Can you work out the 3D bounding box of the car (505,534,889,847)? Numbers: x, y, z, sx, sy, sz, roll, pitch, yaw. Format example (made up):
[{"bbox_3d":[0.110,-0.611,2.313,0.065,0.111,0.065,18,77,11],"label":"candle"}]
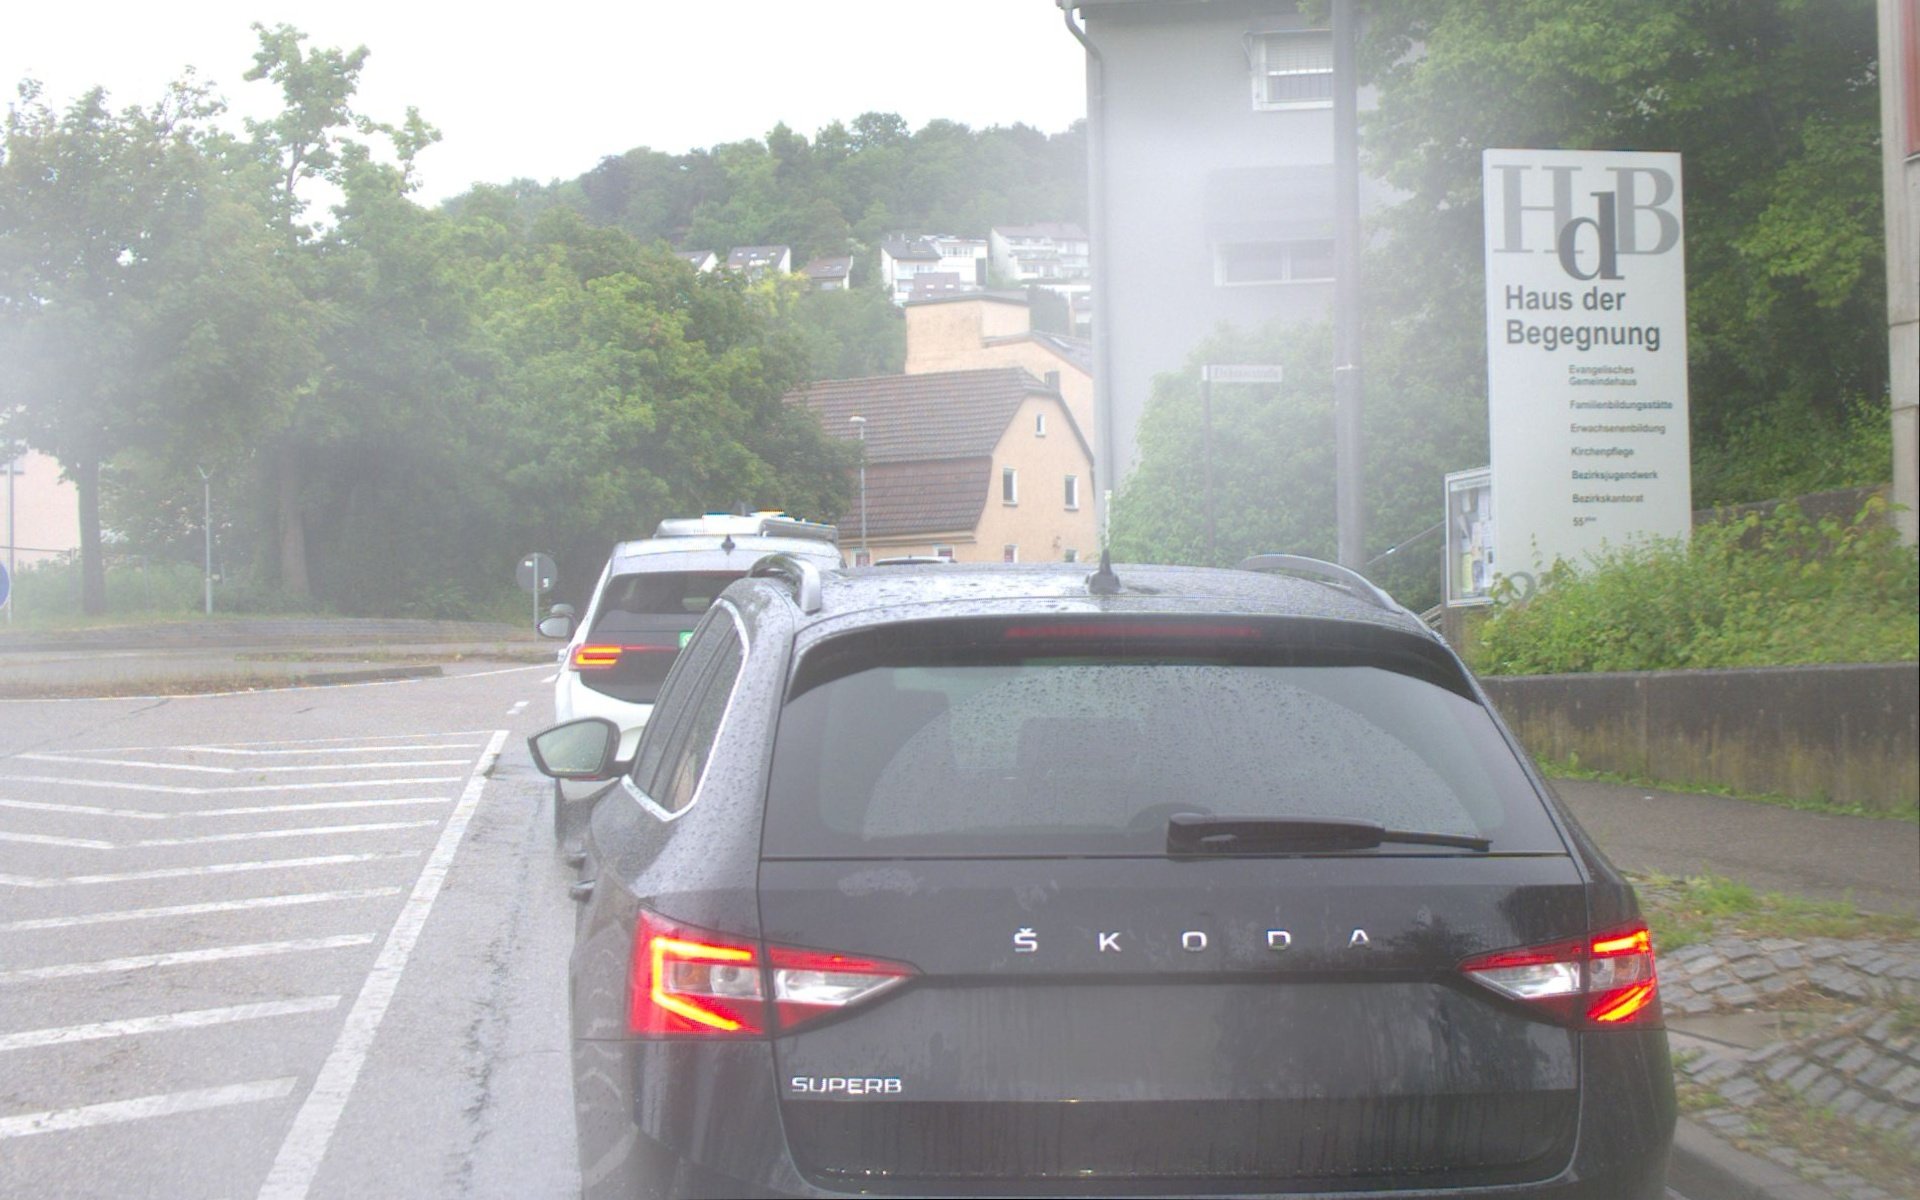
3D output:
[{"bbox_3d":[-1.321,0.429,18.542,1.828,1.495,4.169,0,0,-2],"label":"car"}]

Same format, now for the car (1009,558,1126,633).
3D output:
[{"bbox_3d":[2.294,-0.112,72.448,1.994,1.448,3.769,-3,0,8],"label":"car"}]

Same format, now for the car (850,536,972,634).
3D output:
[{"bbox_3d":[-0.765,-0.275,55.865,1.567,1.525,3.999,0,1,5],"label":"car"}]

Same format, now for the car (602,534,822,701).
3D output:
[{"bbox_3d":[-2.246,0.143,31.229,1.848,1.405,4.302,0,0,-4],"label":"car"}]

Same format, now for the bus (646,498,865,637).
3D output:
[{"bbox_3d":[-4.088,-0.714,70.363,2.398,2.667,7.043,0,1,14],"label":"bus"}]

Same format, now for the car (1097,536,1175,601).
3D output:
[{"bbox_3d":[5.633,-0.997,110.391,1.993,2.007,4.000,1,0,-4],"label":"car"}]

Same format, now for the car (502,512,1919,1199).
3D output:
[{"bbox_3d":[0.081,0.655,6.941,1.953,1.502,4.609,2,0,-7],"label":"car"}]
